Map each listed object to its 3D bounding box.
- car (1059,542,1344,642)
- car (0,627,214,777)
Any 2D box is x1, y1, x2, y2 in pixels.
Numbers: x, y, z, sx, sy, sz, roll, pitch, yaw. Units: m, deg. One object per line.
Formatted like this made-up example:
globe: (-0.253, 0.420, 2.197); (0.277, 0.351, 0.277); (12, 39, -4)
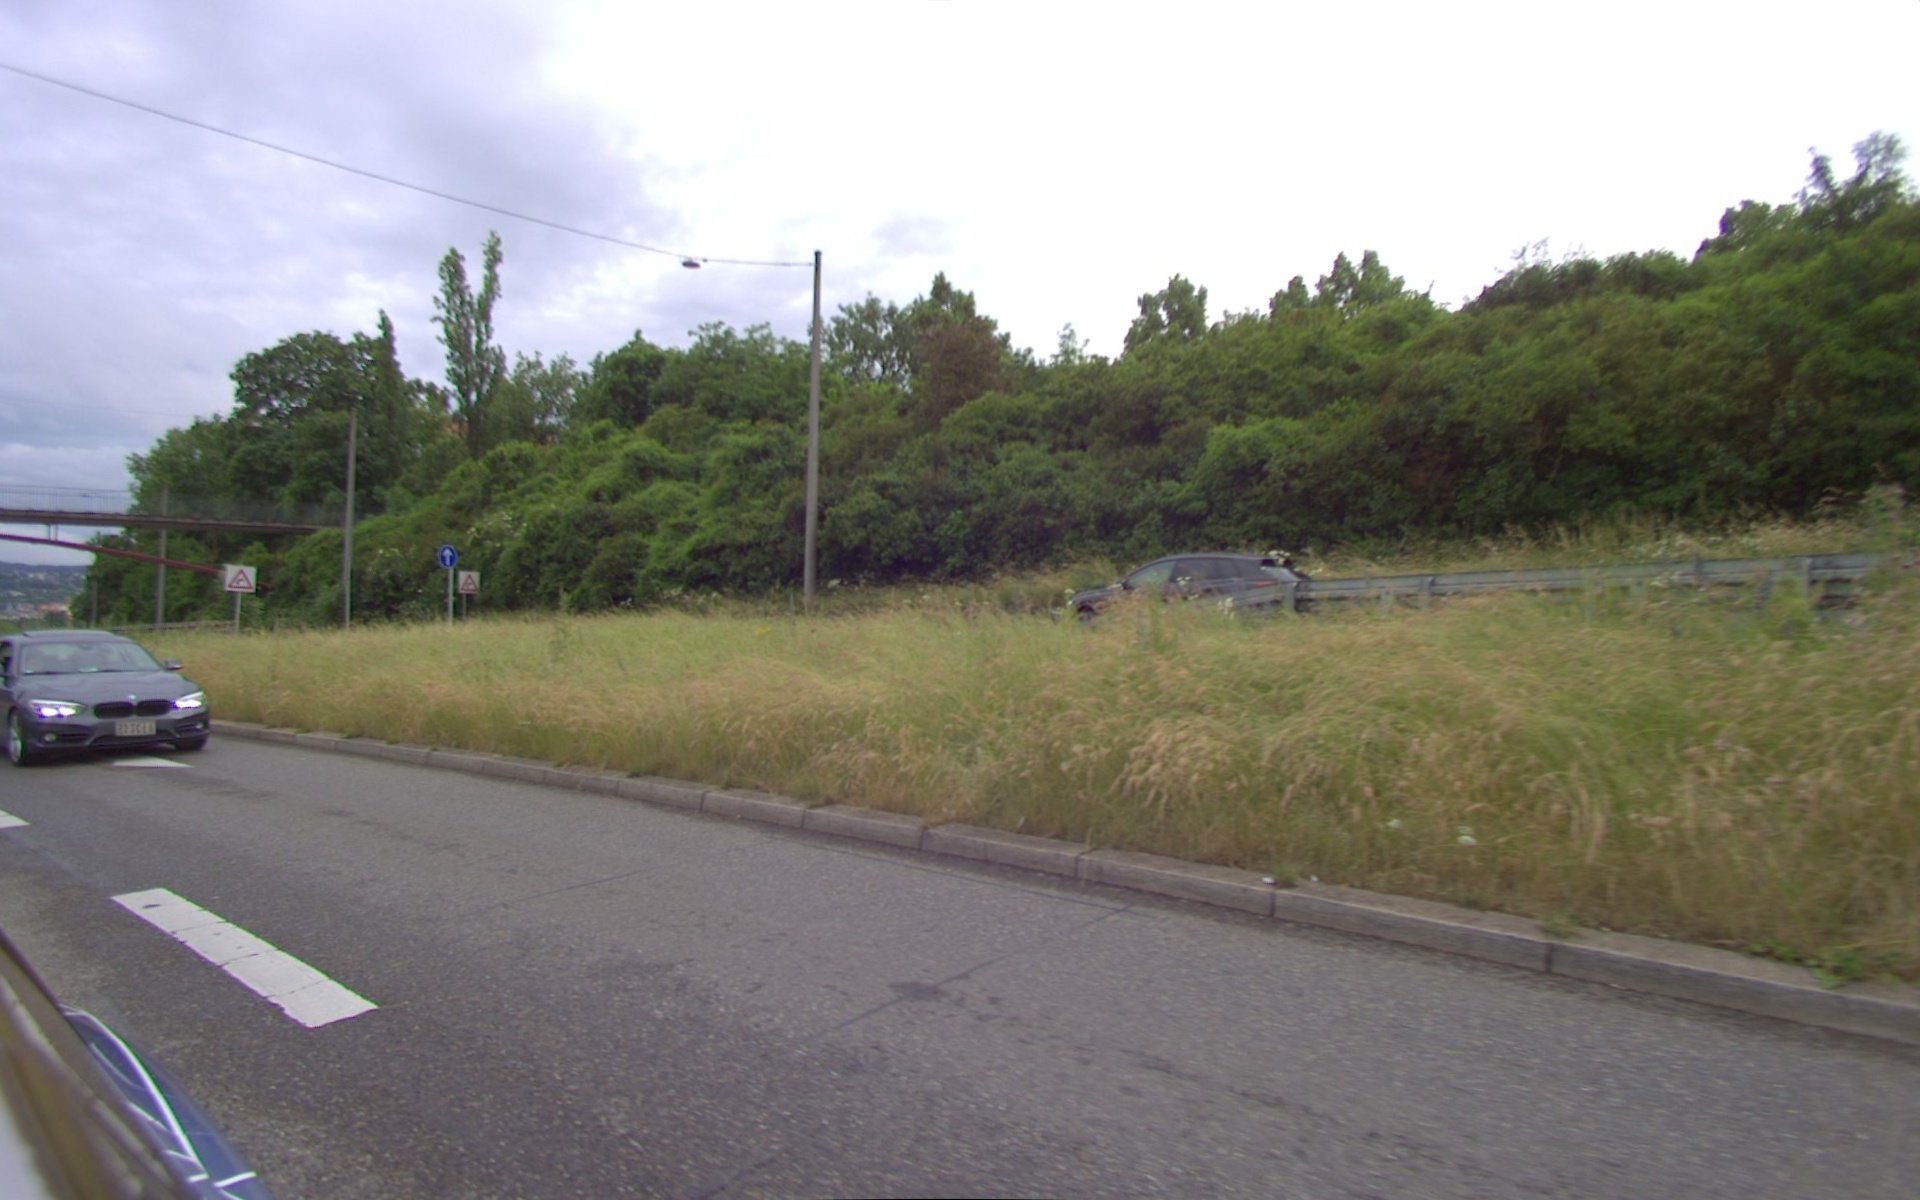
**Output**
car: (3.980, -0.109, 17.105); (4.287, 1.464, 1.971); (-1, 0, 44)
car: (-10.795, 1.093, 12.272); (4.106, 1.471, 1.687); (-1, 0, 36)
